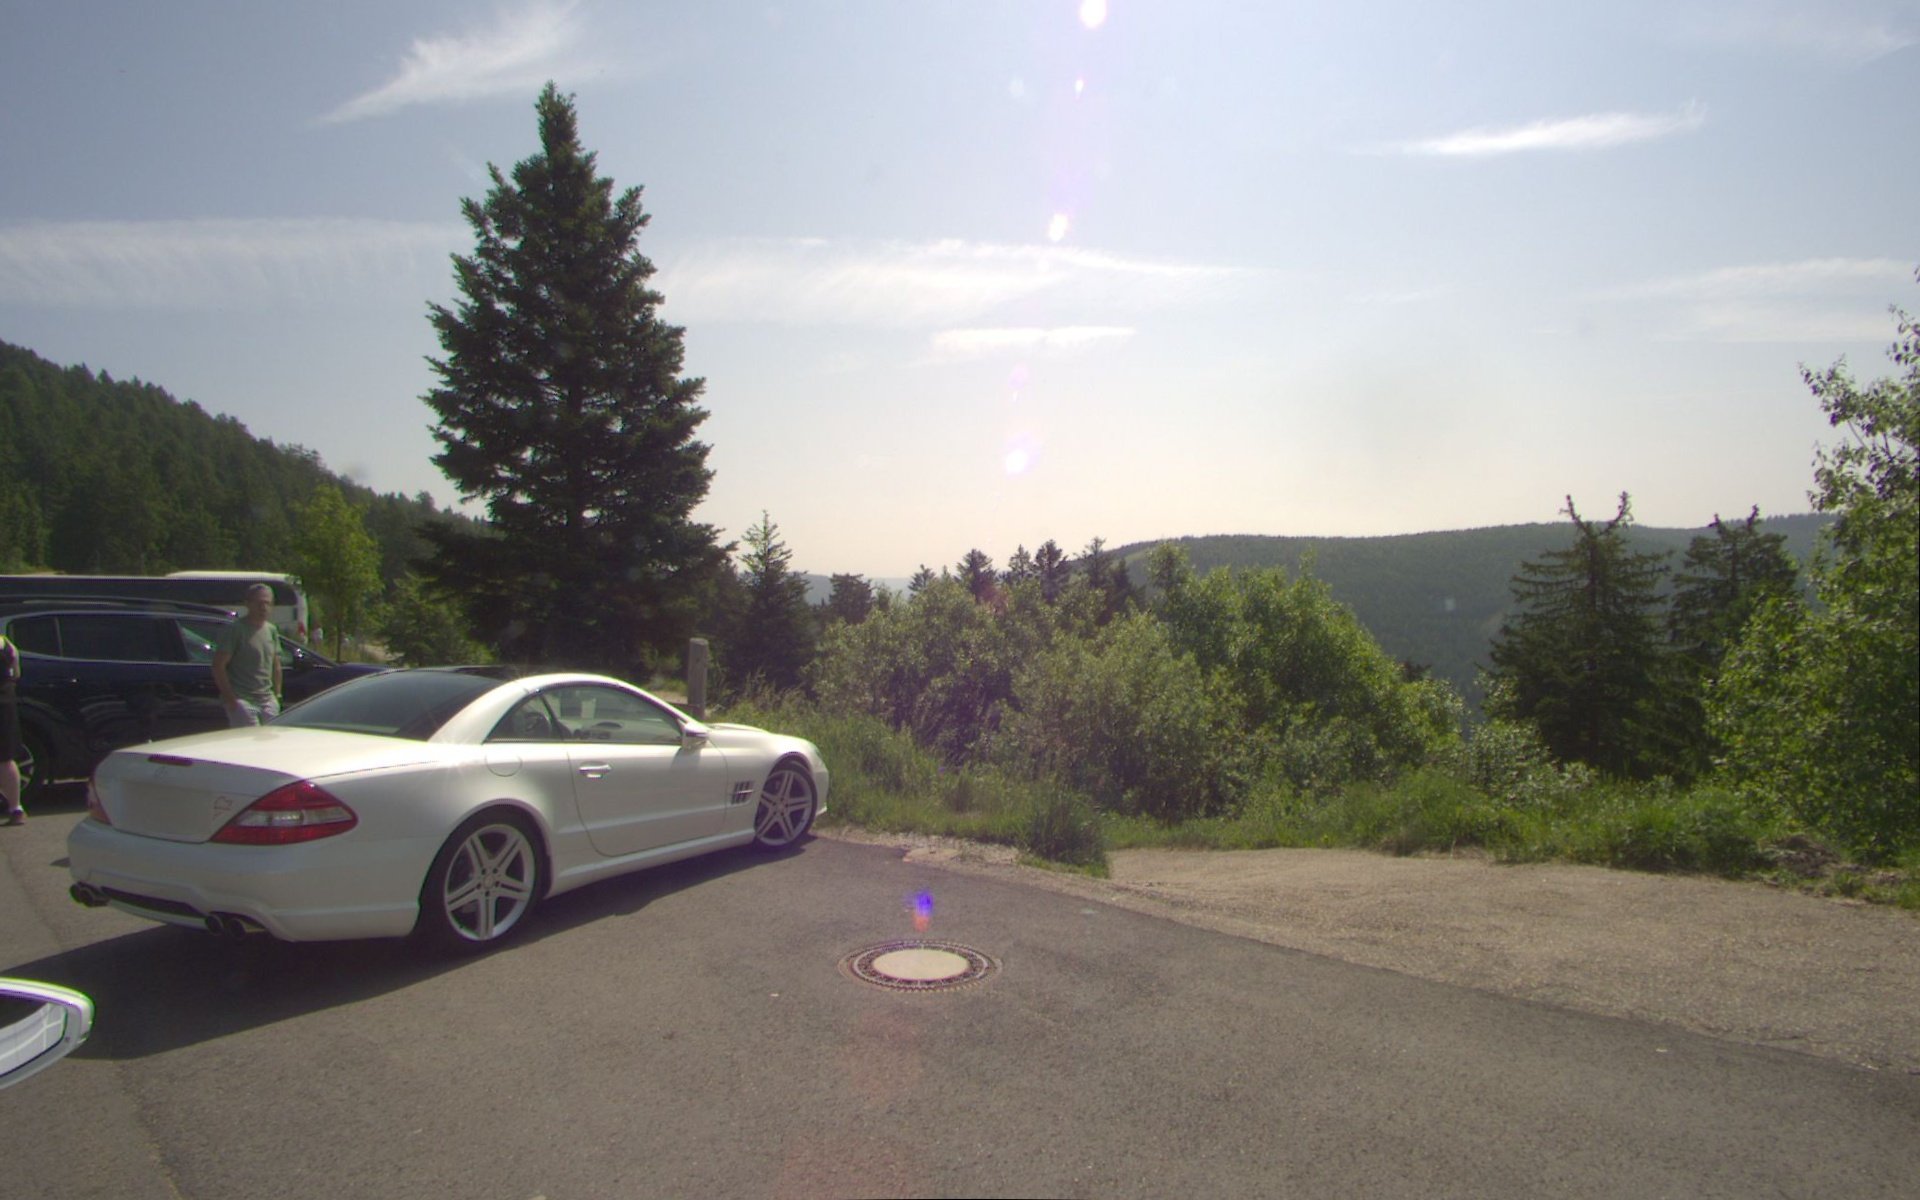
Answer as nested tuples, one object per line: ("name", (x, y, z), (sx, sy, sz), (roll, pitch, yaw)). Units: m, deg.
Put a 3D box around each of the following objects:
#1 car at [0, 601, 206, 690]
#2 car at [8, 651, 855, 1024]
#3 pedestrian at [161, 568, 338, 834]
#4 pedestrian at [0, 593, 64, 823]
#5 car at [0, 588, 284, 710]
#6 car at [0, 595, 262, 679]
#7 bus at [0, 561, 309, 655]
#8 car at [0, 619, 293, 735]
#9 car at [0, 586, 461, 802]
("car", (-17.368, 0.839, 19.416), (4.214, 1.574, 1.820), (-1, 0, -44))
("car", (-2.495, 0.993, 6.067), (1.726, 1.312, 4.402), (1, -2, 24))
("pedestrian", (-5.166, 0.707, 7.313), (0.722, 1.823, 0.748), (0, -1, 15))
("pedestrian", (-7.077, 0.773, 7.256), (0.528, 1.633, 0.714), (-1, -1, 26))
("car", (-13.478, 0.701, 15.391), (4.911, 1.718, 1.928), (0, 0, -41))
("car", (-18.762, 0.760, 22.331), (4.999, 1.673, 2.028), (-1, 0, -44))
("bus", (-34.742, 0.272, 41.450), (12.959, 3.580, 3.024), (-1, 1, -33))
("car", (-11.517, 0.969, 13.360), (1.682, 1.394, 4.064), (-1, -2, 40))
("car", (-7.218, 0.808, 9.184), (1.849, 1.646, 4.326), (-1, -4, 41))
